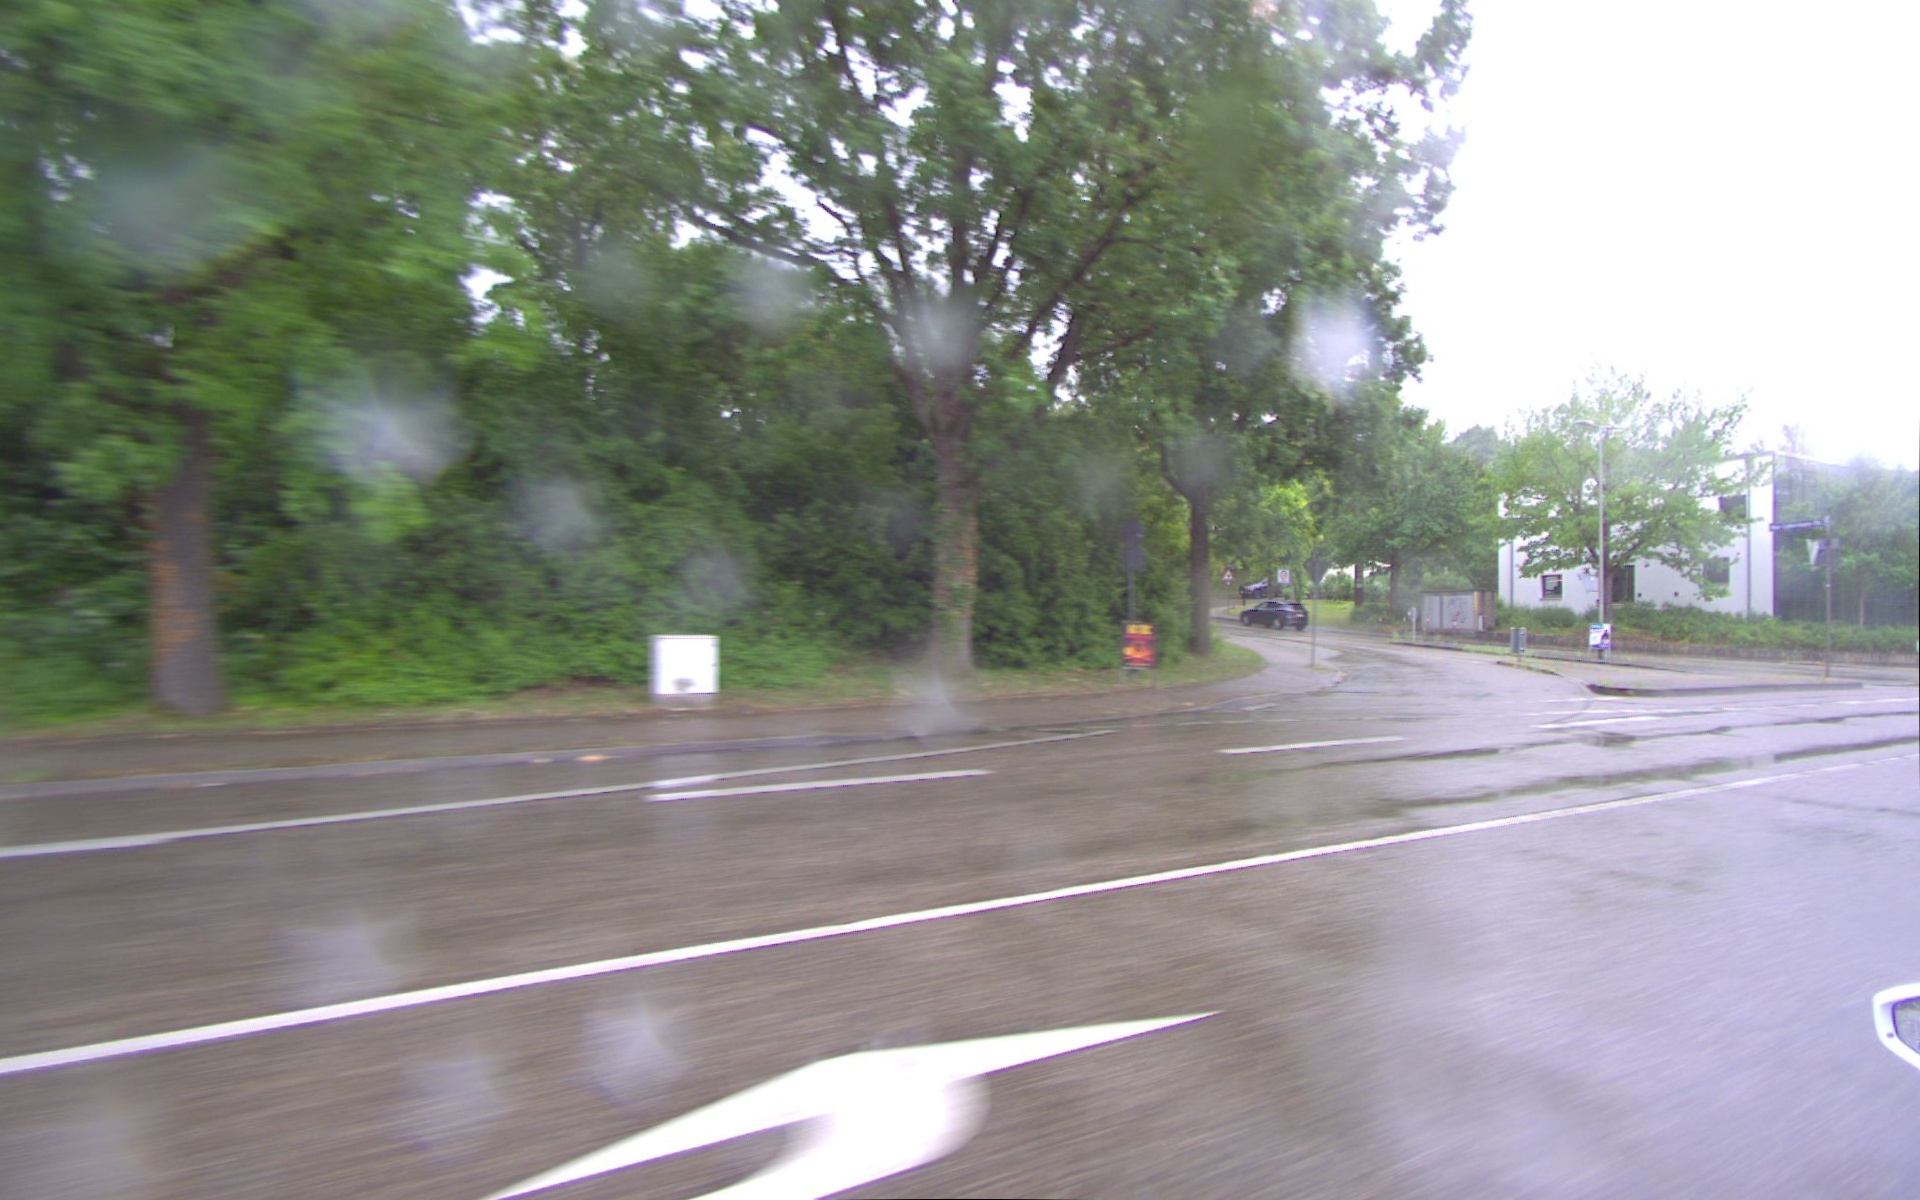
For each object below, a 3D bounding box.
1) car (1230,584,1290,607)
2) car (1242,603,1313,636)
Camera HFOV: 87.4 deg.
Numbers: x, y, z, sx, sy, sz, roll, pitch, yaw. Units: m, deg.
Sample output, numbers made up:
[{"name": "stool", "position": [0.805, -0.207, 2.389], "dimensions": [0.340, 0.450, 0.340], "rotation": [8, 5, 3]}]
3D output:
[{"name": "car", "position": [25.059, -0.369, 83.937], "dimensions": [4.316, 1.786, 1.997], "rotation": [1, 2, -9]}, {"name": "car", "position": [18.285, 1.113, 58.040], "dimensions": [1.774, 1.786, 3.979], "rotation": [1, 0, -22]}]
